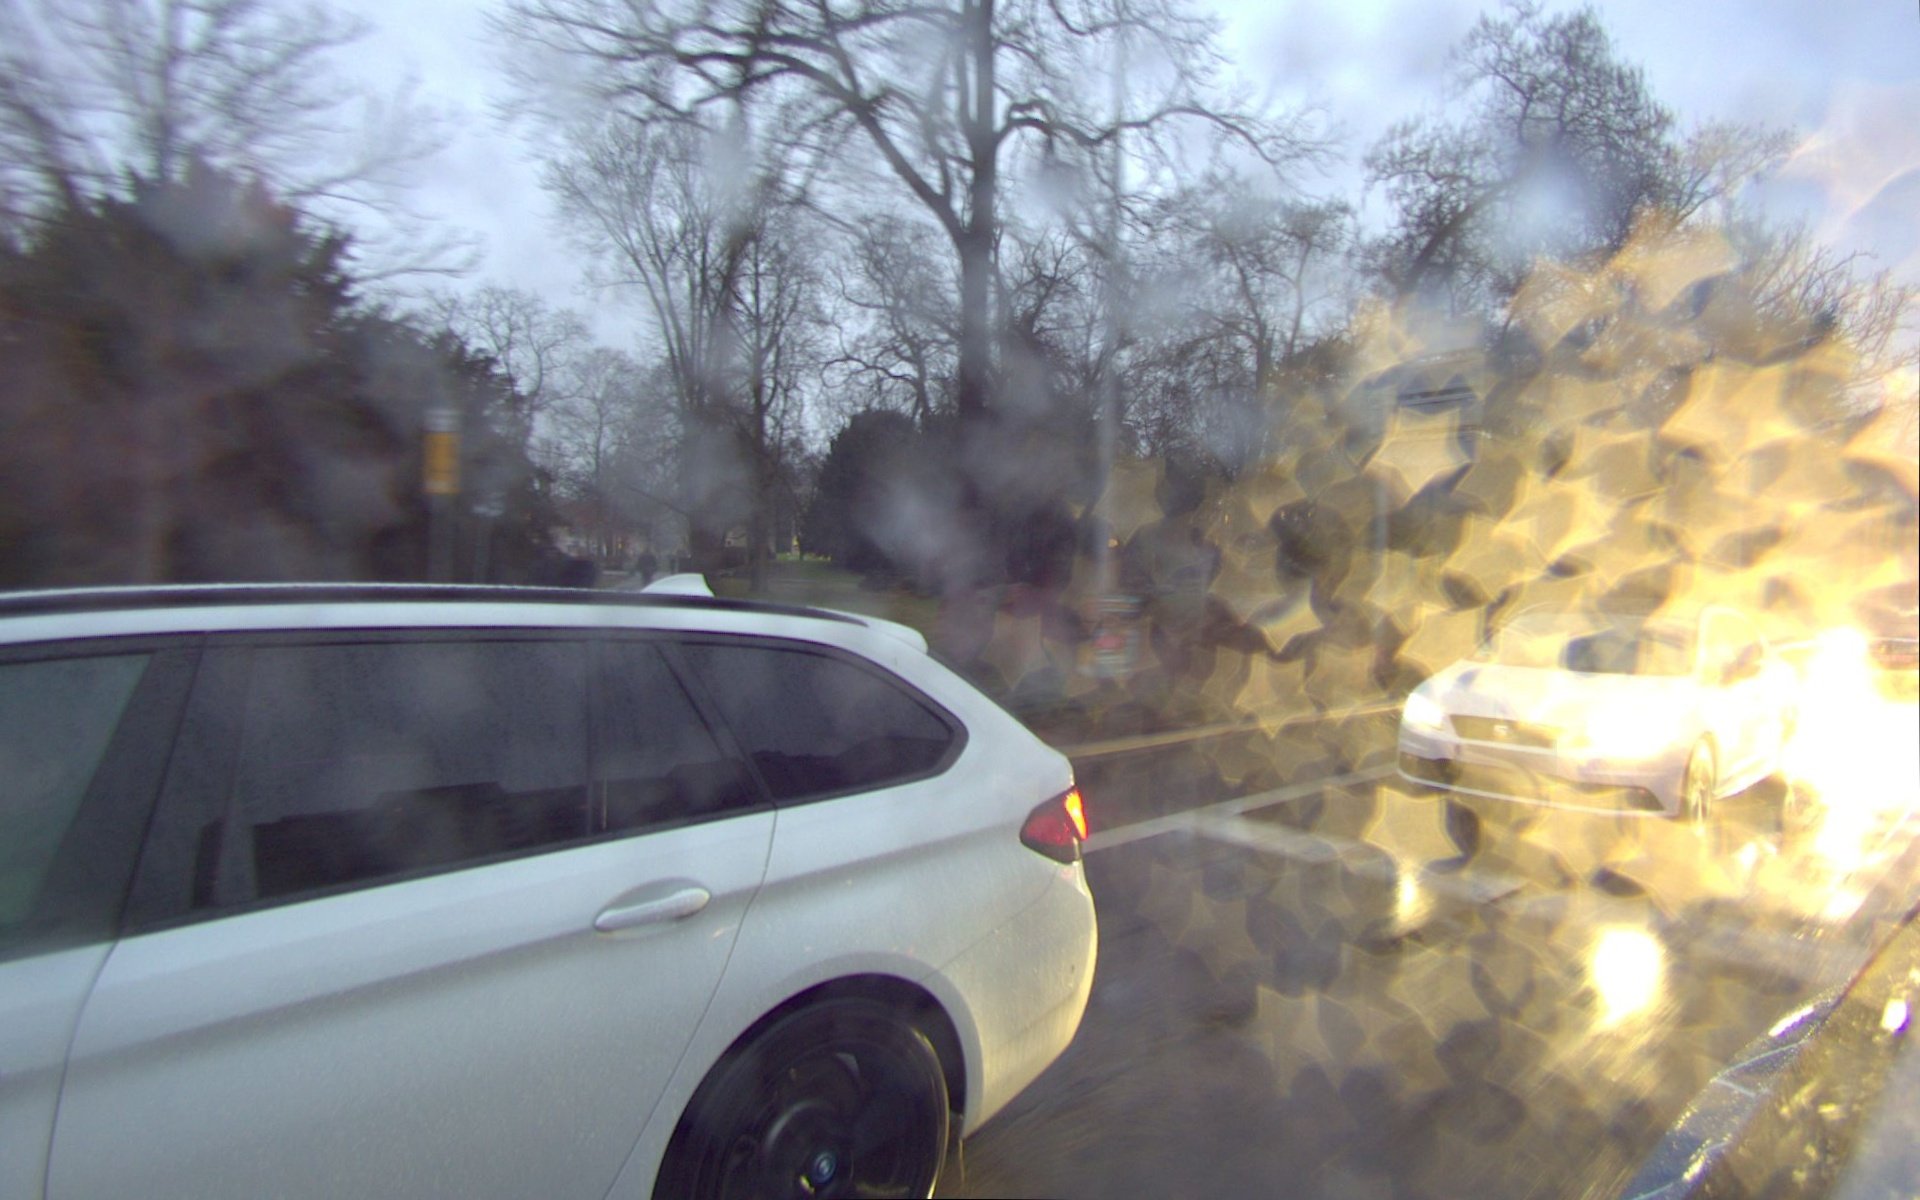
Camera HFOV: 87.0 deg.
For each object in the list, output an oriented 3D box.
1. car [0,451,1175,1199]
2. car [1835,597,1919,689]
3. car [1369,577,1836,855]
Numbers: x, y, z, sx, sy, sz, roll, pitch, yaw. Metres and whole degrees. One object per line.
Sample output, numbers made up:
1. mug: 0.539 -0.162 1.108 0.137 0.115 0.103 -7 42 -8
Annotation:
1. car: -1.867 0.569 1.811 4.879 1.520 1.791 -1 1 -40
2. car: 18.136 0.763 19.108 4.007 1.516 1.880 -1 3 -41
3. car: 4.884 0.588 7.485 3.969 1.479 1.778 -1 3 -40
